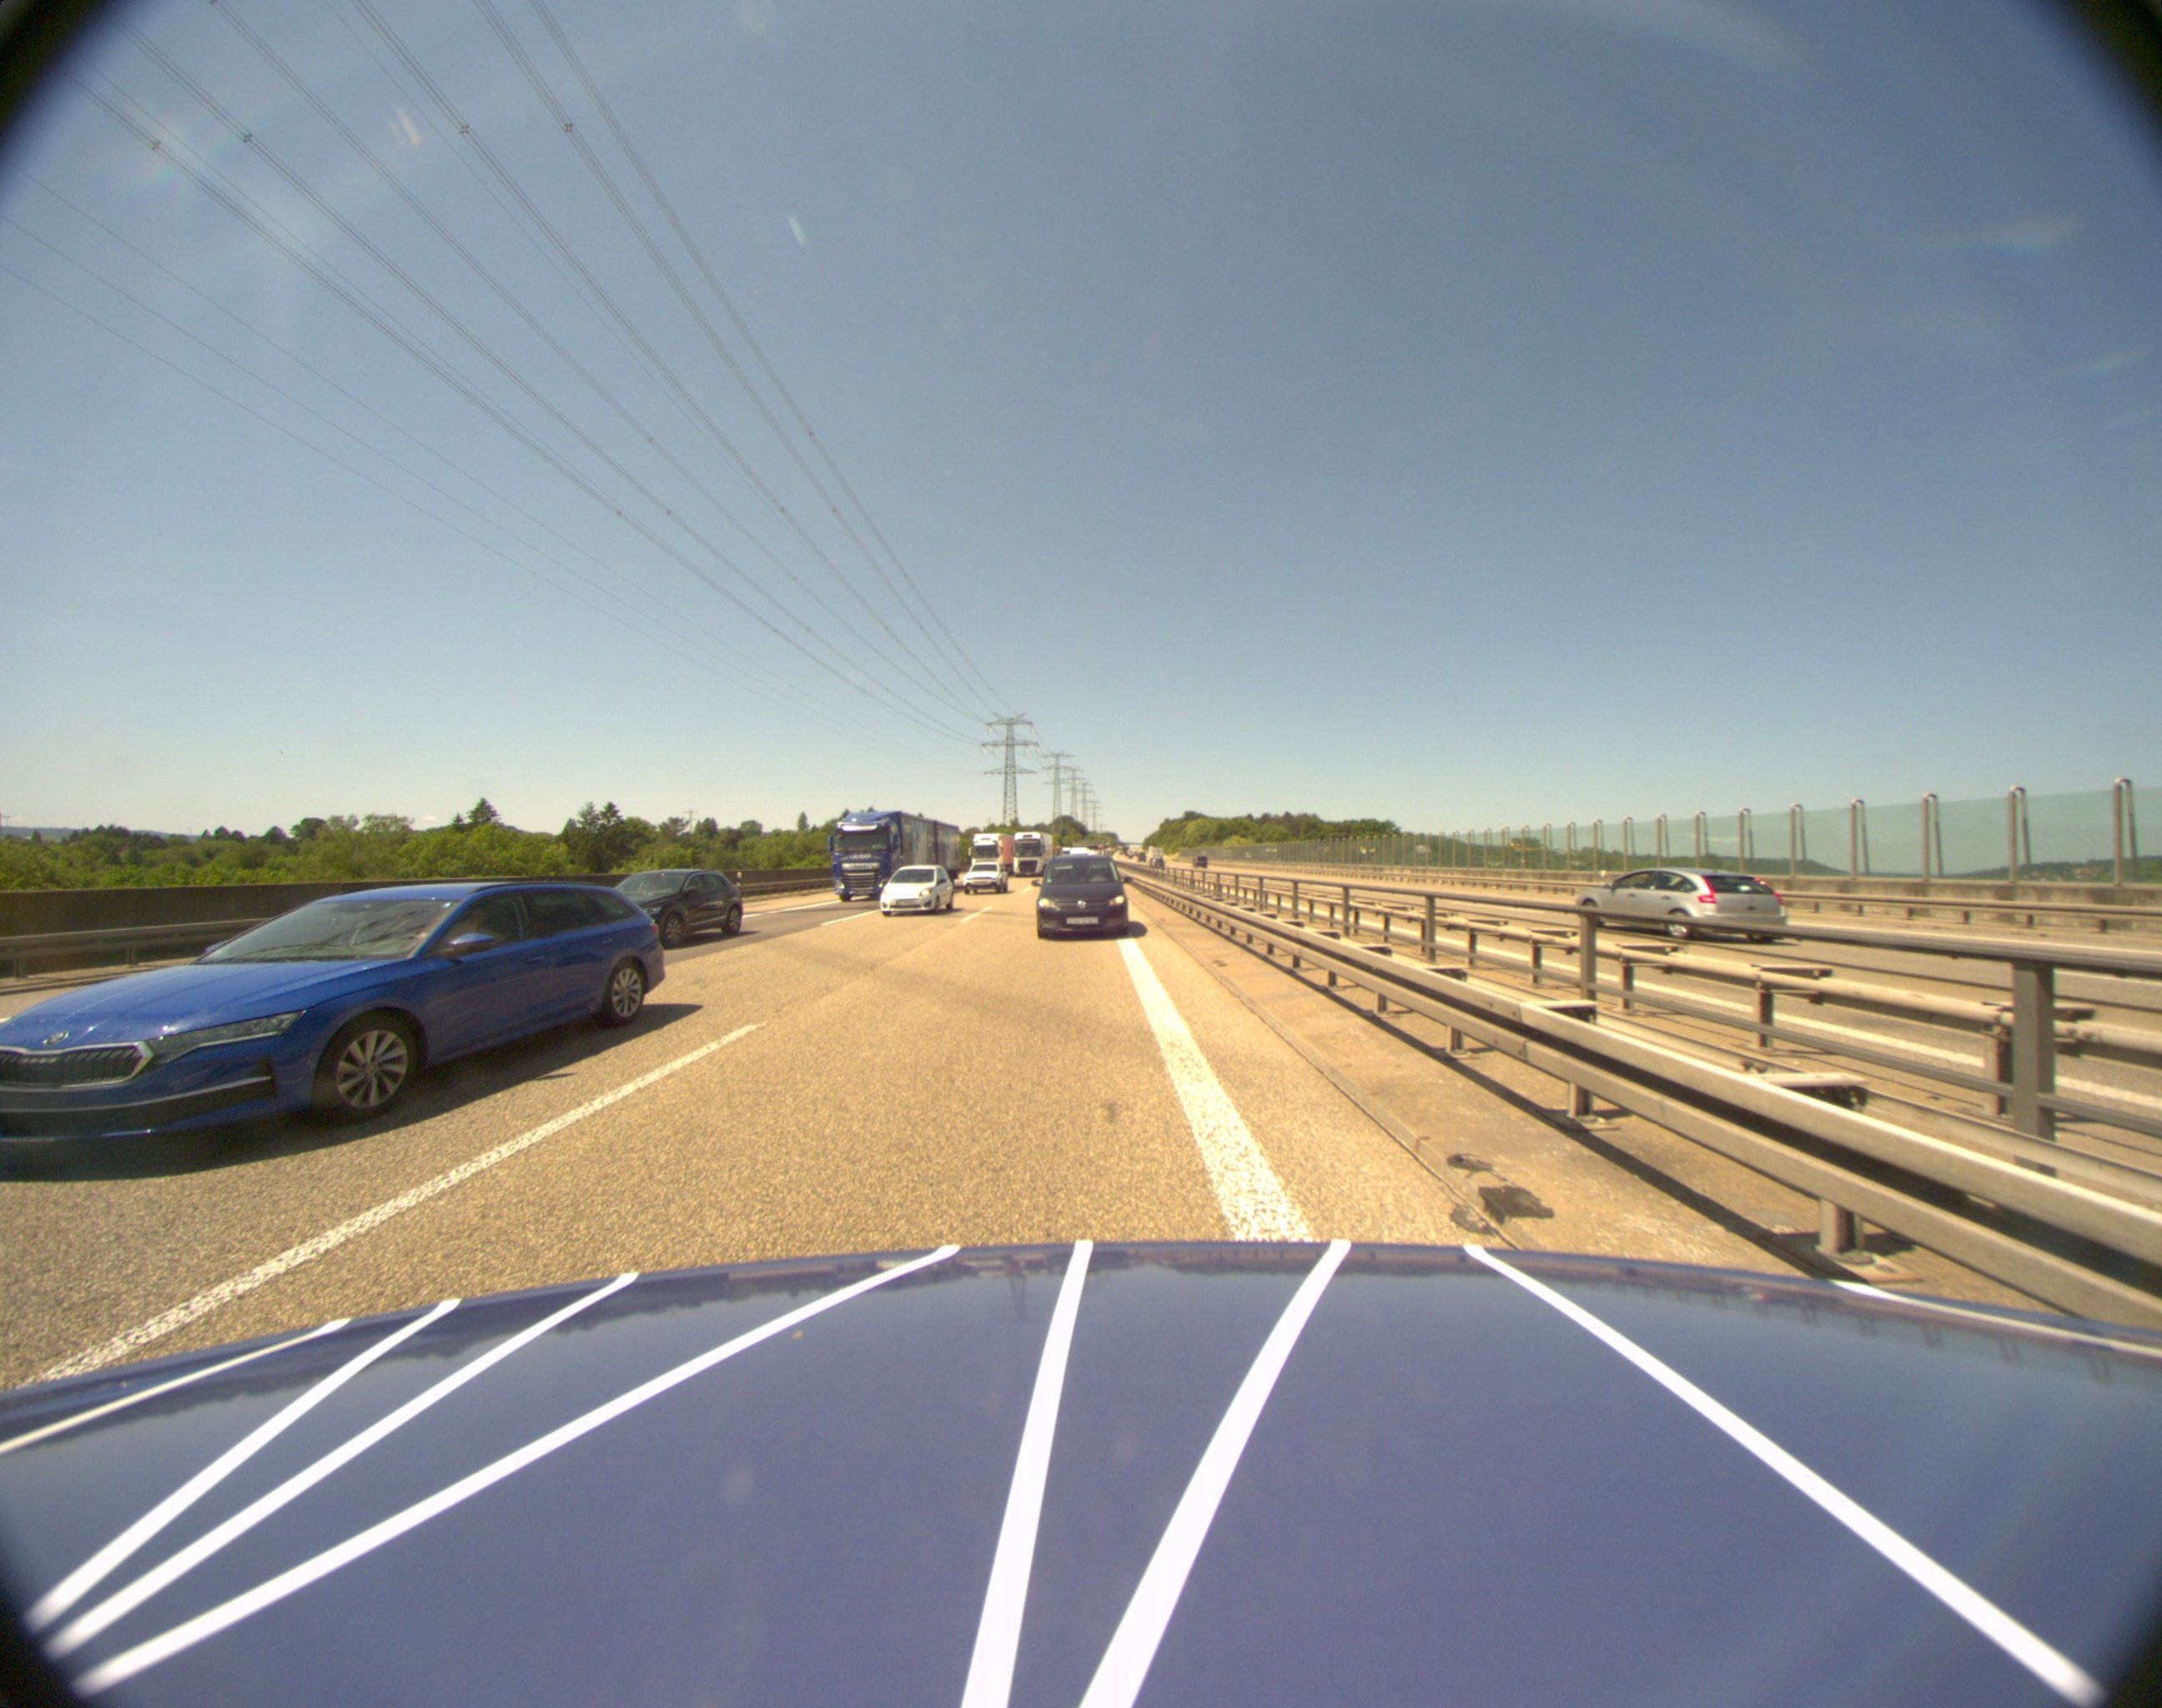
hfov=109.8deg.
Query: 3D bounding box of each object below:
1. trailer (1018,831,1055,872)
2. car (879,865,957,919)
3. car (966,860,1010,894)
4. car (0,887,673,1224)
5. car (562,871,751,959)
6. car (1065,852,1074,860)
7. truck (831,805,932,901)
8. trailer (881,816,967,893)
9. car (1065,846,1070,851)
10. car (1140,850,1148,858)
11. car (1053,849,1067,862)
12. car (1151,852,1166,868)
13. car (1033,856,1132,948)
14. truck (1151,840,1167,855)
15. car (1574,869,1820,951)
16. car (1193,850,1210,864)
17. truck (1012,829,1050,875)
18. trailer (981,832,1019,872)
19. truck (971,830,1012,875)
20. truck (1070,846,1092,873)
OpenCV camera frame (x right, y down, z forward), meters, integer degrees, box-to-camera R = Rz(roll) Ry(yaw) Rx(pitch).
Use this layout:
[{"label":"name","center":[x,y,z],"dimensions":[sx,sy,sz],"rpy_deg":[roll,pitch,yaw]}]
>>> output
[{"label":"trailer","center":[-4.395,-0.280,77.068],"dimensions":[2.898,3.847,9.773],"rpy_deg":[-2,1,1]},{"label":"car","center":[-4.957,1.111,23.568],"dimensions":[1.583,1.432,3.629],"rpy_deg":[-2,0,0]},{"label":"car","center":[-4.531,1.102,37.484],"dimensions":[1.722,1.526,3.753],"rpy_deg":[-2,0,0]},{"label":"car","center":[-5.292,1.093,5.952],"dimensions":[1.714,1.432,4.500],"rpy_deg":[-2,0,0]},{"label":"car","center":[-8.678,1.169,15.953],"dimensions":[1.709,1.497,3.888],"rpy_deg":[-2,0,0]},{"label":"car","center":[-2.420,0.421,158.231],"dimensions":[1.701,1.599,3.639],"rpy_deg":[-2,1,1]},{"label":"truck","center":[-9.138,-0.030,35.827],"dimensions":[2.517,3.944,7.927],"rpy_deg":[-2,0,0]},{"label":"trailer","center":[-9.057,-0.025,45.245],"dimensions":[2.543,3.971,10.884],"rpy_deg":[-2,1,1]},{"label":"car","center":[-4.293,-1.696,241.366],"dimensions":[1.701,1.599,3.639],"rpy_deg":[-2,1,1]},{"label":"car","center":[16.032,0.006,192.489],"dimensions":[1.725,1.849,3.555],"rpy_deg":[-2,1,1]},{"label":"car","center":[-3.301,0.226,120.733],"dimensions":[1.998,2.002,4.000],"rpy_deg":[-2,1,1]},{"label":"car","center":[9.883,0.716,96.533],"dimensions":[1.584,2.002,3.546],"rpy_deg":[0,0,1]},{"label":"car","center":[0.027,0.867,15.690],"dimensions":[1.739,1.607,3.911],"rpy_deg":[-2,0,0]},{"label":"truck","center":[20.003,-1.768,194.531],"dimensions":[3.289,3.628,6.975],"rpy_deg":[-2,1,1]},{"label":"car","center":[12.439,1.050,15.758],"dimensions":[1.767,1.374,4.078],"rpy_deg":[1,0,0]},{"label":"car","center":[18.806,0.436,118.624],"dimensions":[2.021,2.002,3.968],"rpy_deg":[-2,1,1]},{"label":"truck","center":[-4.446,-0.203,68.811],"dimensions":[2.914,3.869,6.739],"rpy_deg":[-2,1,0]},{"label":"trailer","center":[-8.240,-0.226,78.445],"dimensions":[2.904,3.779,8.688],"rpy_deg":[-2,1,0]},{"label":"truck","center":[-8.241,-0.189,70.724],"dimensions":[2.914,3.869,6.739],"rpy_deg":[-2,1,0]},{"label":"truck","center":[0.049,0.507,79.283],"dimensions":[2.100,2.700,5.864],"rpy_deg":[-2,1,1]}]
